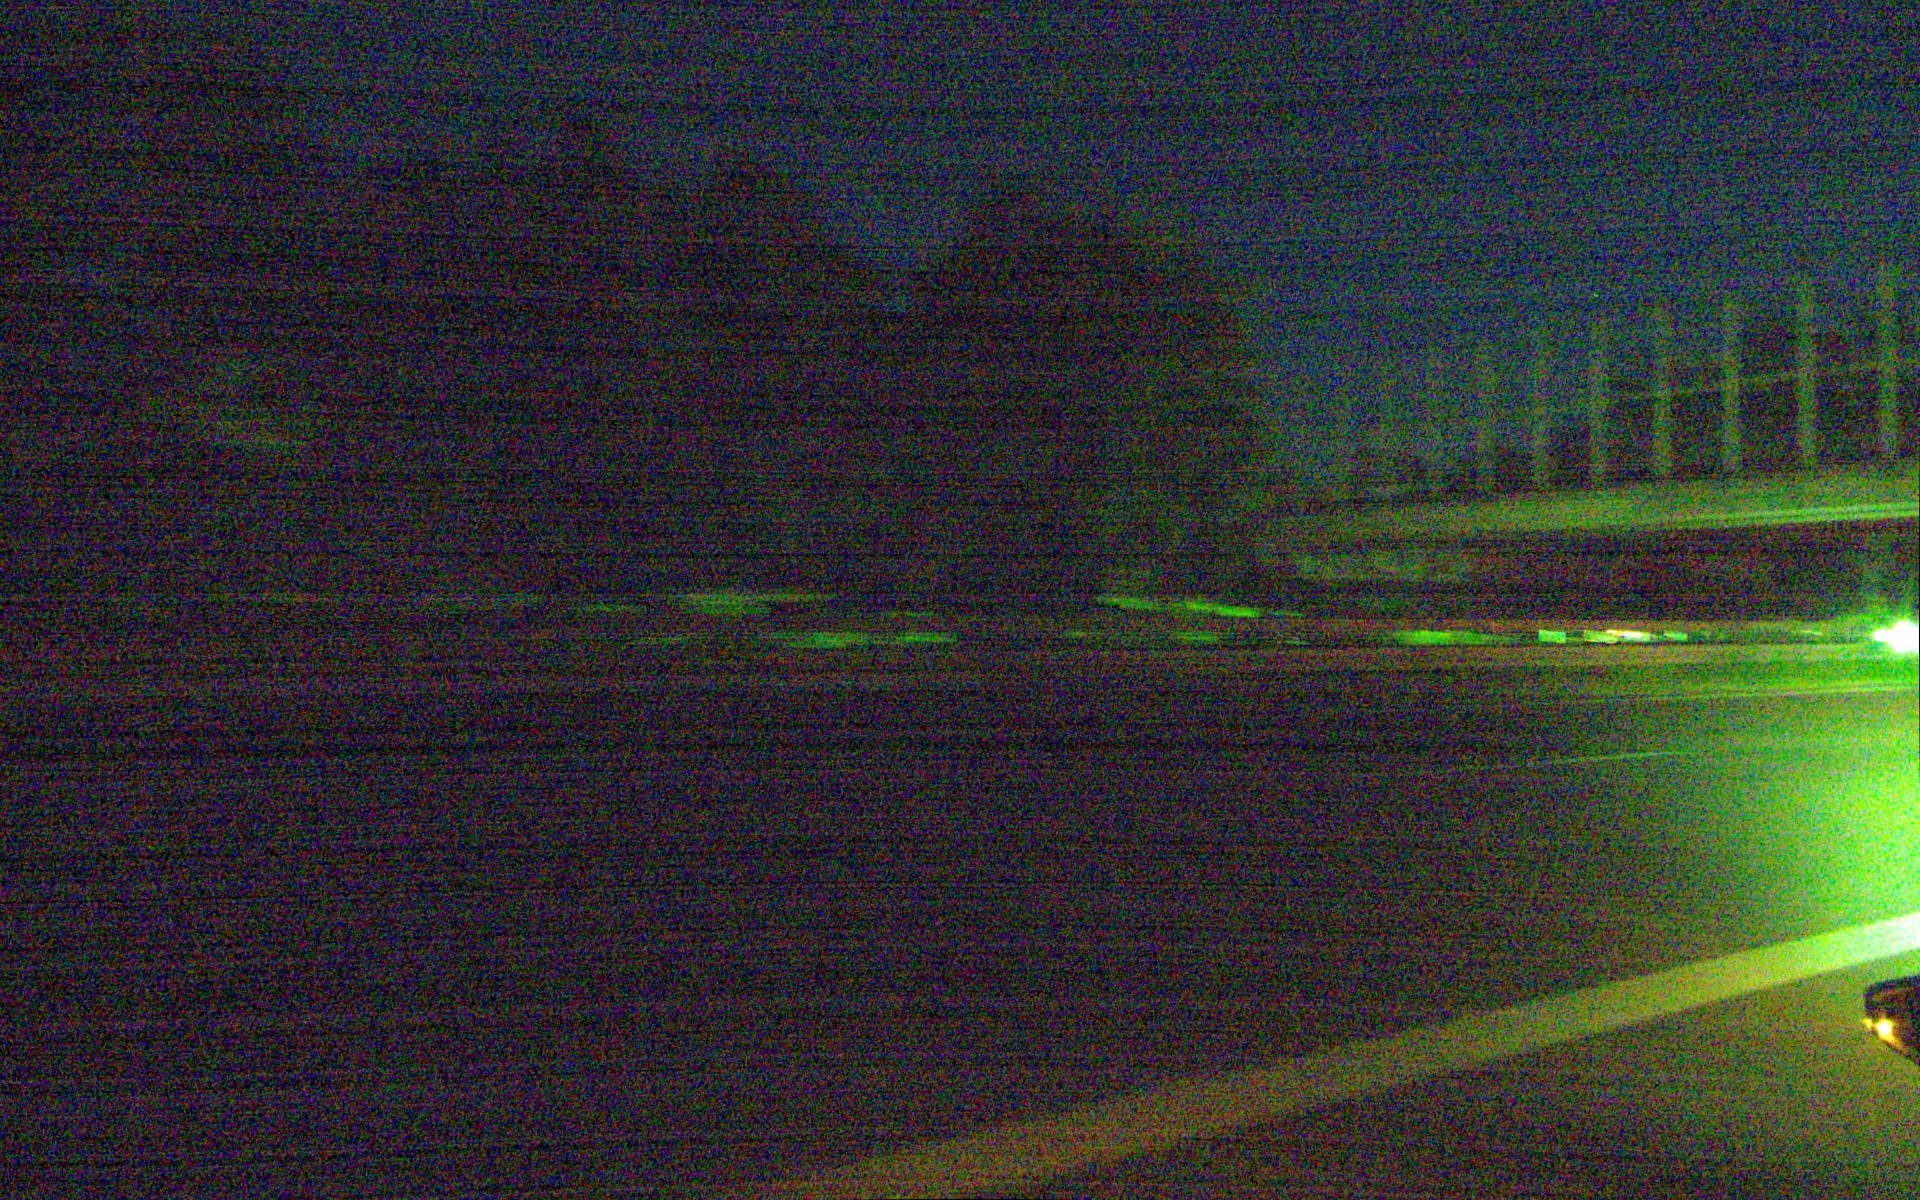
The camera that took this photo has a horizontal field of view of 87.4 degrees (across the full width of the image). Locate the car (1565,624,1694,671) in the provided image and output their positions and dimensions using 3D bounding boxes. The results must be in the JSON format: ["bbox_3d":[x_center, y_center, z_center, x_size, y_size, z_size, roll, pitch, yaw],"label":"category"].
[{"bbox_3d":[23.322,1.654,35.004,3.946,1.539,1.987,2,-1,-25],"label":"car"}]

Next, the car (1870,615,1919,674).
[{"bbox_3d":[35.608,1.618,36.658,4.547,2.040,1.987,1,0,-26],"label":"car"}]
